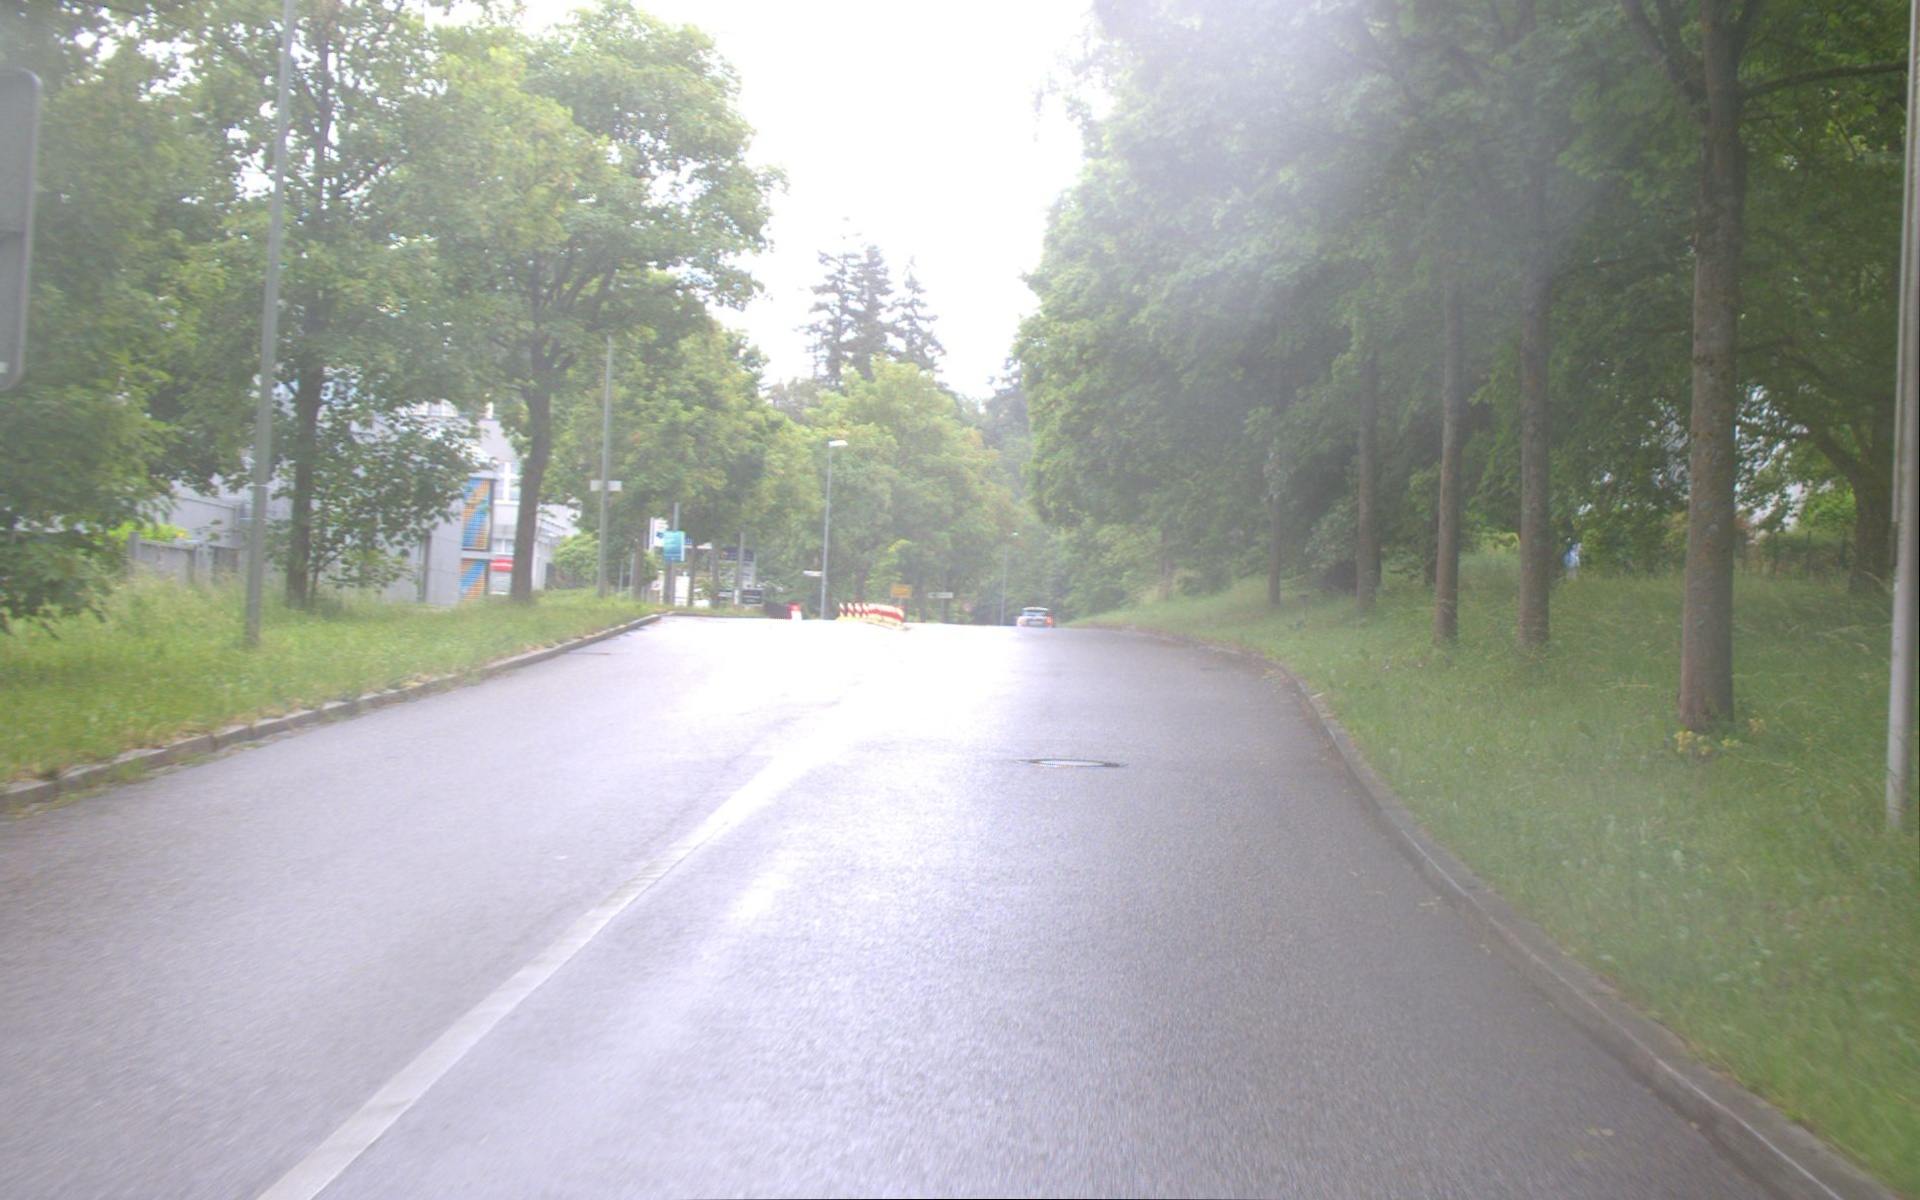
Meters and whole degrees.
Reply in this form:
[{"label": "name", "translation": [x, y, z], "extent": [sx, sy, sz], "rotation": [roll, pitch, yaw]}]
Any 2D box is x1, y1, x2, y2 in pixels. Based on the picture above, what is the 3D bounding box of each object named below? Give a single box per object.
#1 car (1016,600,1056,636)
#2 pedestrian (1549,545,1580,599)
[{"label": "car", "translation": [3.401, 0.813, 153.483], "extent": [1.737, 1.505, 3.999], "rotation": [0, -2, 2]}, {"label": "pedestrian", "translation": [14.214, -0.661, 80.840], "extent": [0.654, 1.280, 0.625], "rotation": [0, 0, 3]}]
